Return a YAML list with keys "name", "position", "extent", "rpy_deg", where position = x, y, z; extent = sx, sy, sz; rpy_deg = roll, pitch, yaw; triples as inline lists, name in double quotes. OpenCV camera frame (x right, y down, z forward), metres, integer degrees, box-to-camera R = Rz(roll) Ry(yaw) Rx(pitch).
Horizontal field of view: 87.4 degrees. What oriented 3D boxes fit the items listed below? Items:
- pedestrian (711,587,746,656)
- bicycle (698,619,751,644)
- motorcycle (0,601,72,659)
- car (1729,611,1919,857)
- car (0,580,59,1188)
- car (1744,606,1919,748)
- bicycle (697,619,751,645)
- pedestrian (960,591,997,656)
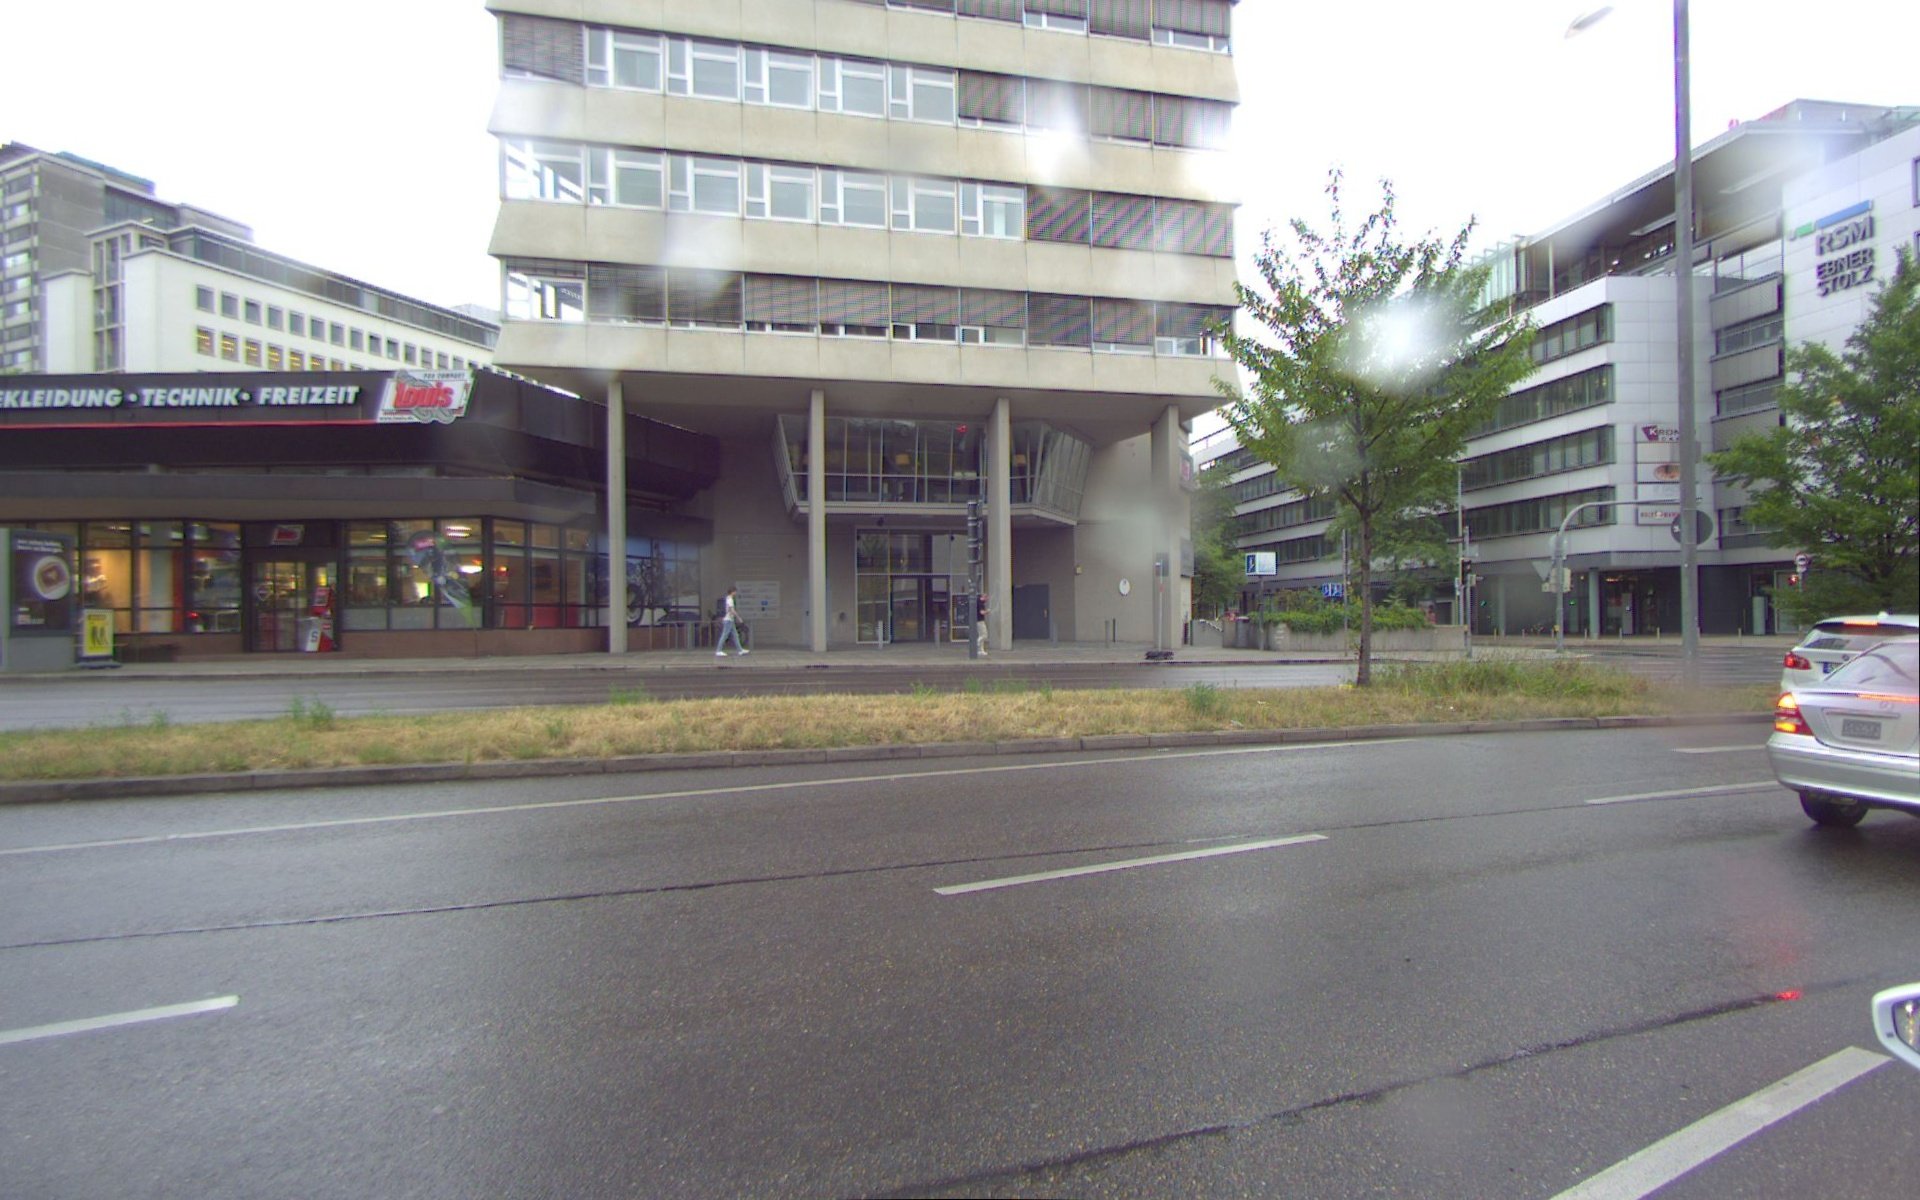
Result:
- name: "pedestrian"
  position: [-6.303, 0.589, 27.389]
  extent: [0.909, 1.857, 0.817]
  rpy_deg: [1, 0, -14]
- name: "bicycle"
  position: [-8.073, 1.083, 34.441]
  extent: [1.743, 0.823, 0.454]
  rpy_deg: [1, 0, -12]
- name: "motorcycle"
  position: [-23.565, 0.724, 24.694]
  extent: [0.788, 1.392, 2.893]
  rpy_deg: [1, 0, 3]
- name: "car"
  position: [7.689, 0.846, 7.185]
  extent: [4.136, 1.505, 1.678]
  rpy_deg: [1, -1, -23]
- name: "car"
  position: [-3.836, 0.647, 0.887]
  extent: [4.242, 1.454, 1.925]
  rpy_deg: [1, -1, -34]
- name: "car"
  position: [12.496, 0.915, 12.967]
  extent: [3.937, 1.617, 1.883]
  rpy_deg: [1, 0, -18]
- name: "bicycle"
  position: [-7.960, 1.082, 33.861]
  extent: [1.743, 0.823, 0.454]
  rpy_deg: [1, 0, -12]
- name: "pedestrian"
  position: [0.527, 0.679, 28.917]
  extent: [0.909, 1.857, 0.727]
  rpy_deg: [1, -1, -14]
